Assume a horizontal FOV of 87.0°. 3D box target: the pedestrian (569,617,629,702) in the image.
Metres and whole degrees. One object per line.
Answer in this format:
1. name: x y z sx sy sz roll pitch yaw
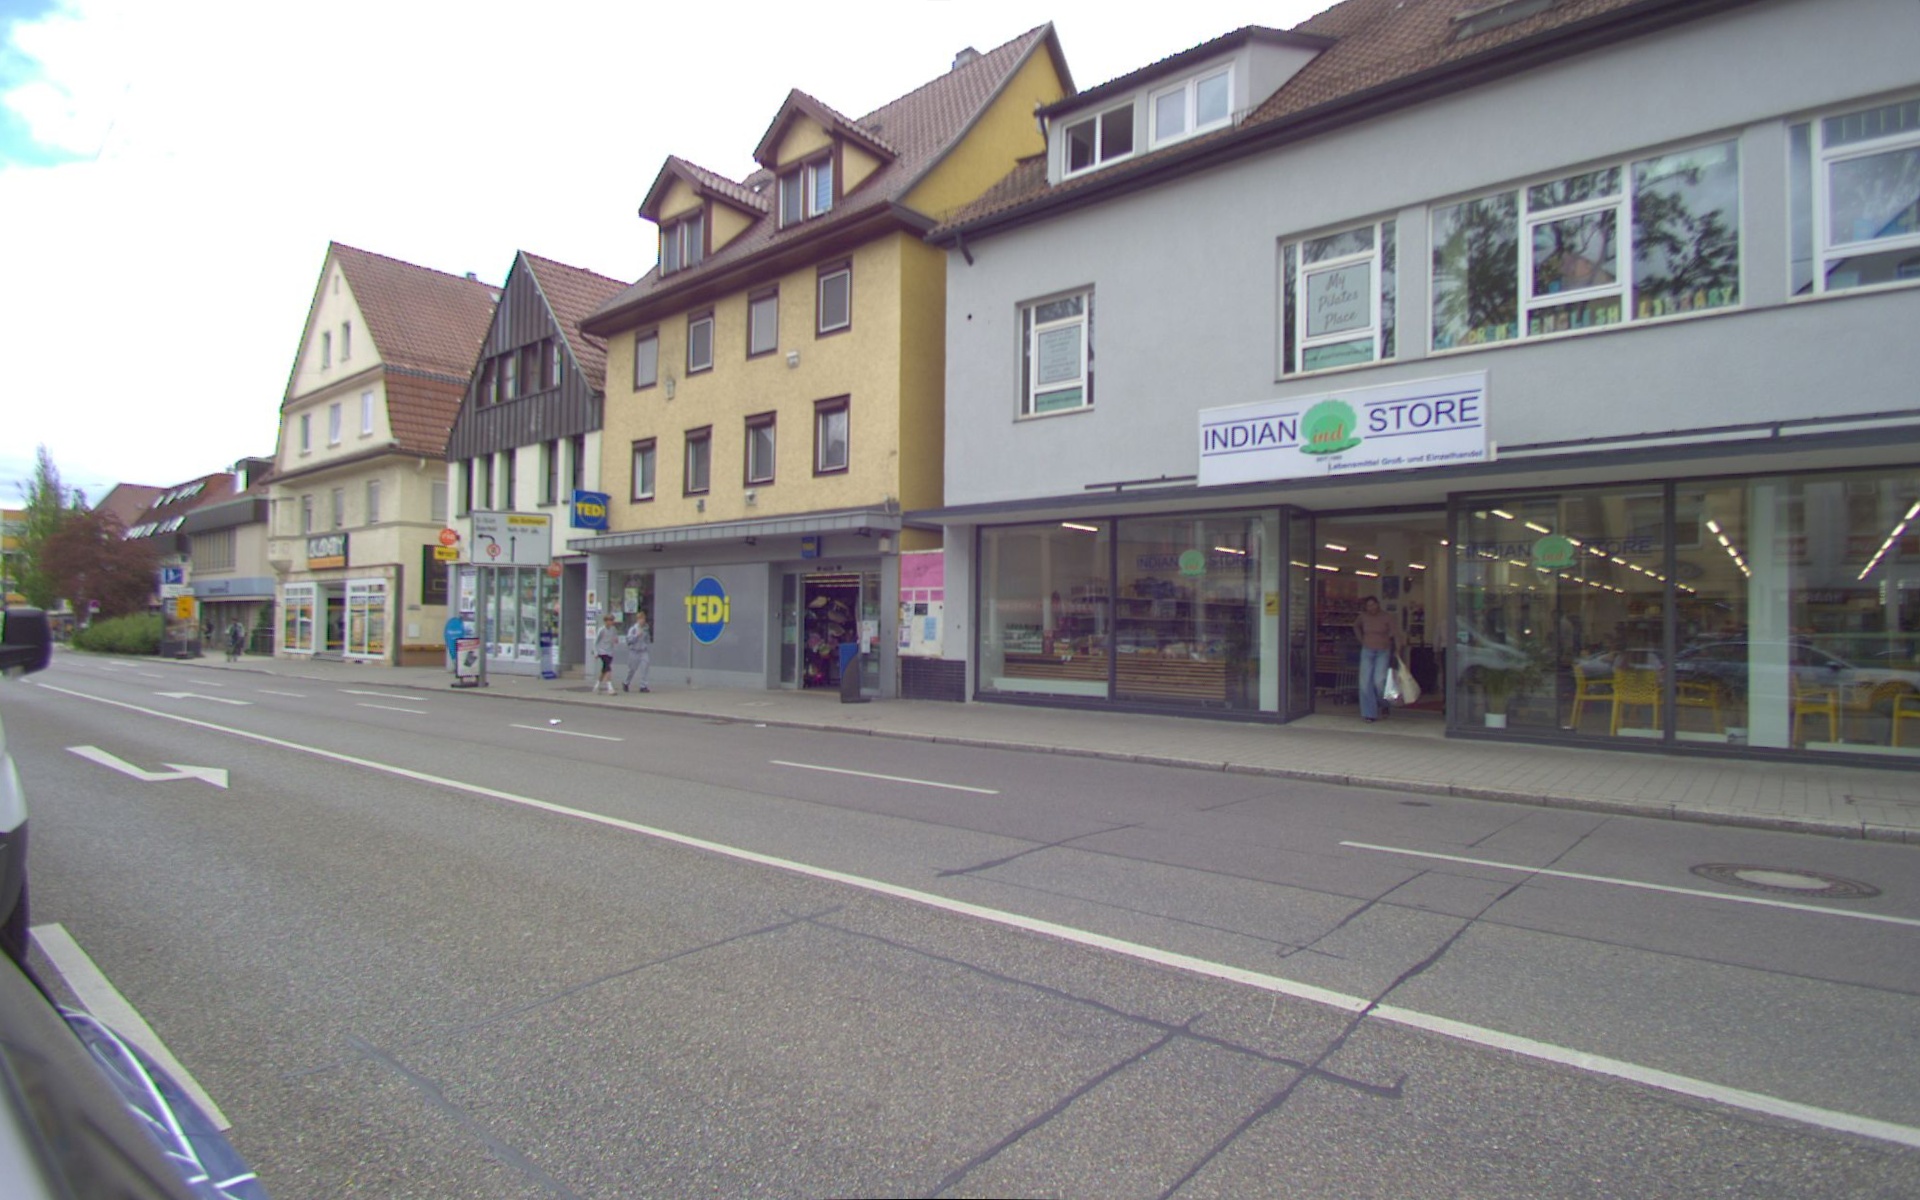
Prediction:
1. pedestrian: -7.323 1.185 20.537 0.920 1.674 0.801 -2 -2 42

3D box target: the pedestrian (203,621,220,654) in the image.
1. pedestrian: -43.741 2.165 59.136 0.678 1.917 0.665 -2 -2 41

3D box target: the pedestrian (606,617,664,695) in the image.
1. pedestrian: -6.792 1.154 21.180 0.920 1.595 0.801 -2 -2 42

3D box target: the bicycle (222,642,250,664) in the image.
1. bicycle: -28.423 2.065 39.726 0.761 0.829 2.244 1 -2 -39

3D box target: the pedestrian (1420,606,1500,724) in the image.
1. pedestrian: 6.966 0.888 14.141 0.840 1.592 0.721 -1 -2 15

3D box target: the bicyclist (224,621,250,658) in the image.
1. bicyclist: -28.402 1.528 39.729 0.761 1.434 0.753 1 -2 -39

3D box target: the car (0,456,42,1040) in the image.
1. car: -6.011 0.569 4.716 5.777 1.994 1.915 -2 0 41
